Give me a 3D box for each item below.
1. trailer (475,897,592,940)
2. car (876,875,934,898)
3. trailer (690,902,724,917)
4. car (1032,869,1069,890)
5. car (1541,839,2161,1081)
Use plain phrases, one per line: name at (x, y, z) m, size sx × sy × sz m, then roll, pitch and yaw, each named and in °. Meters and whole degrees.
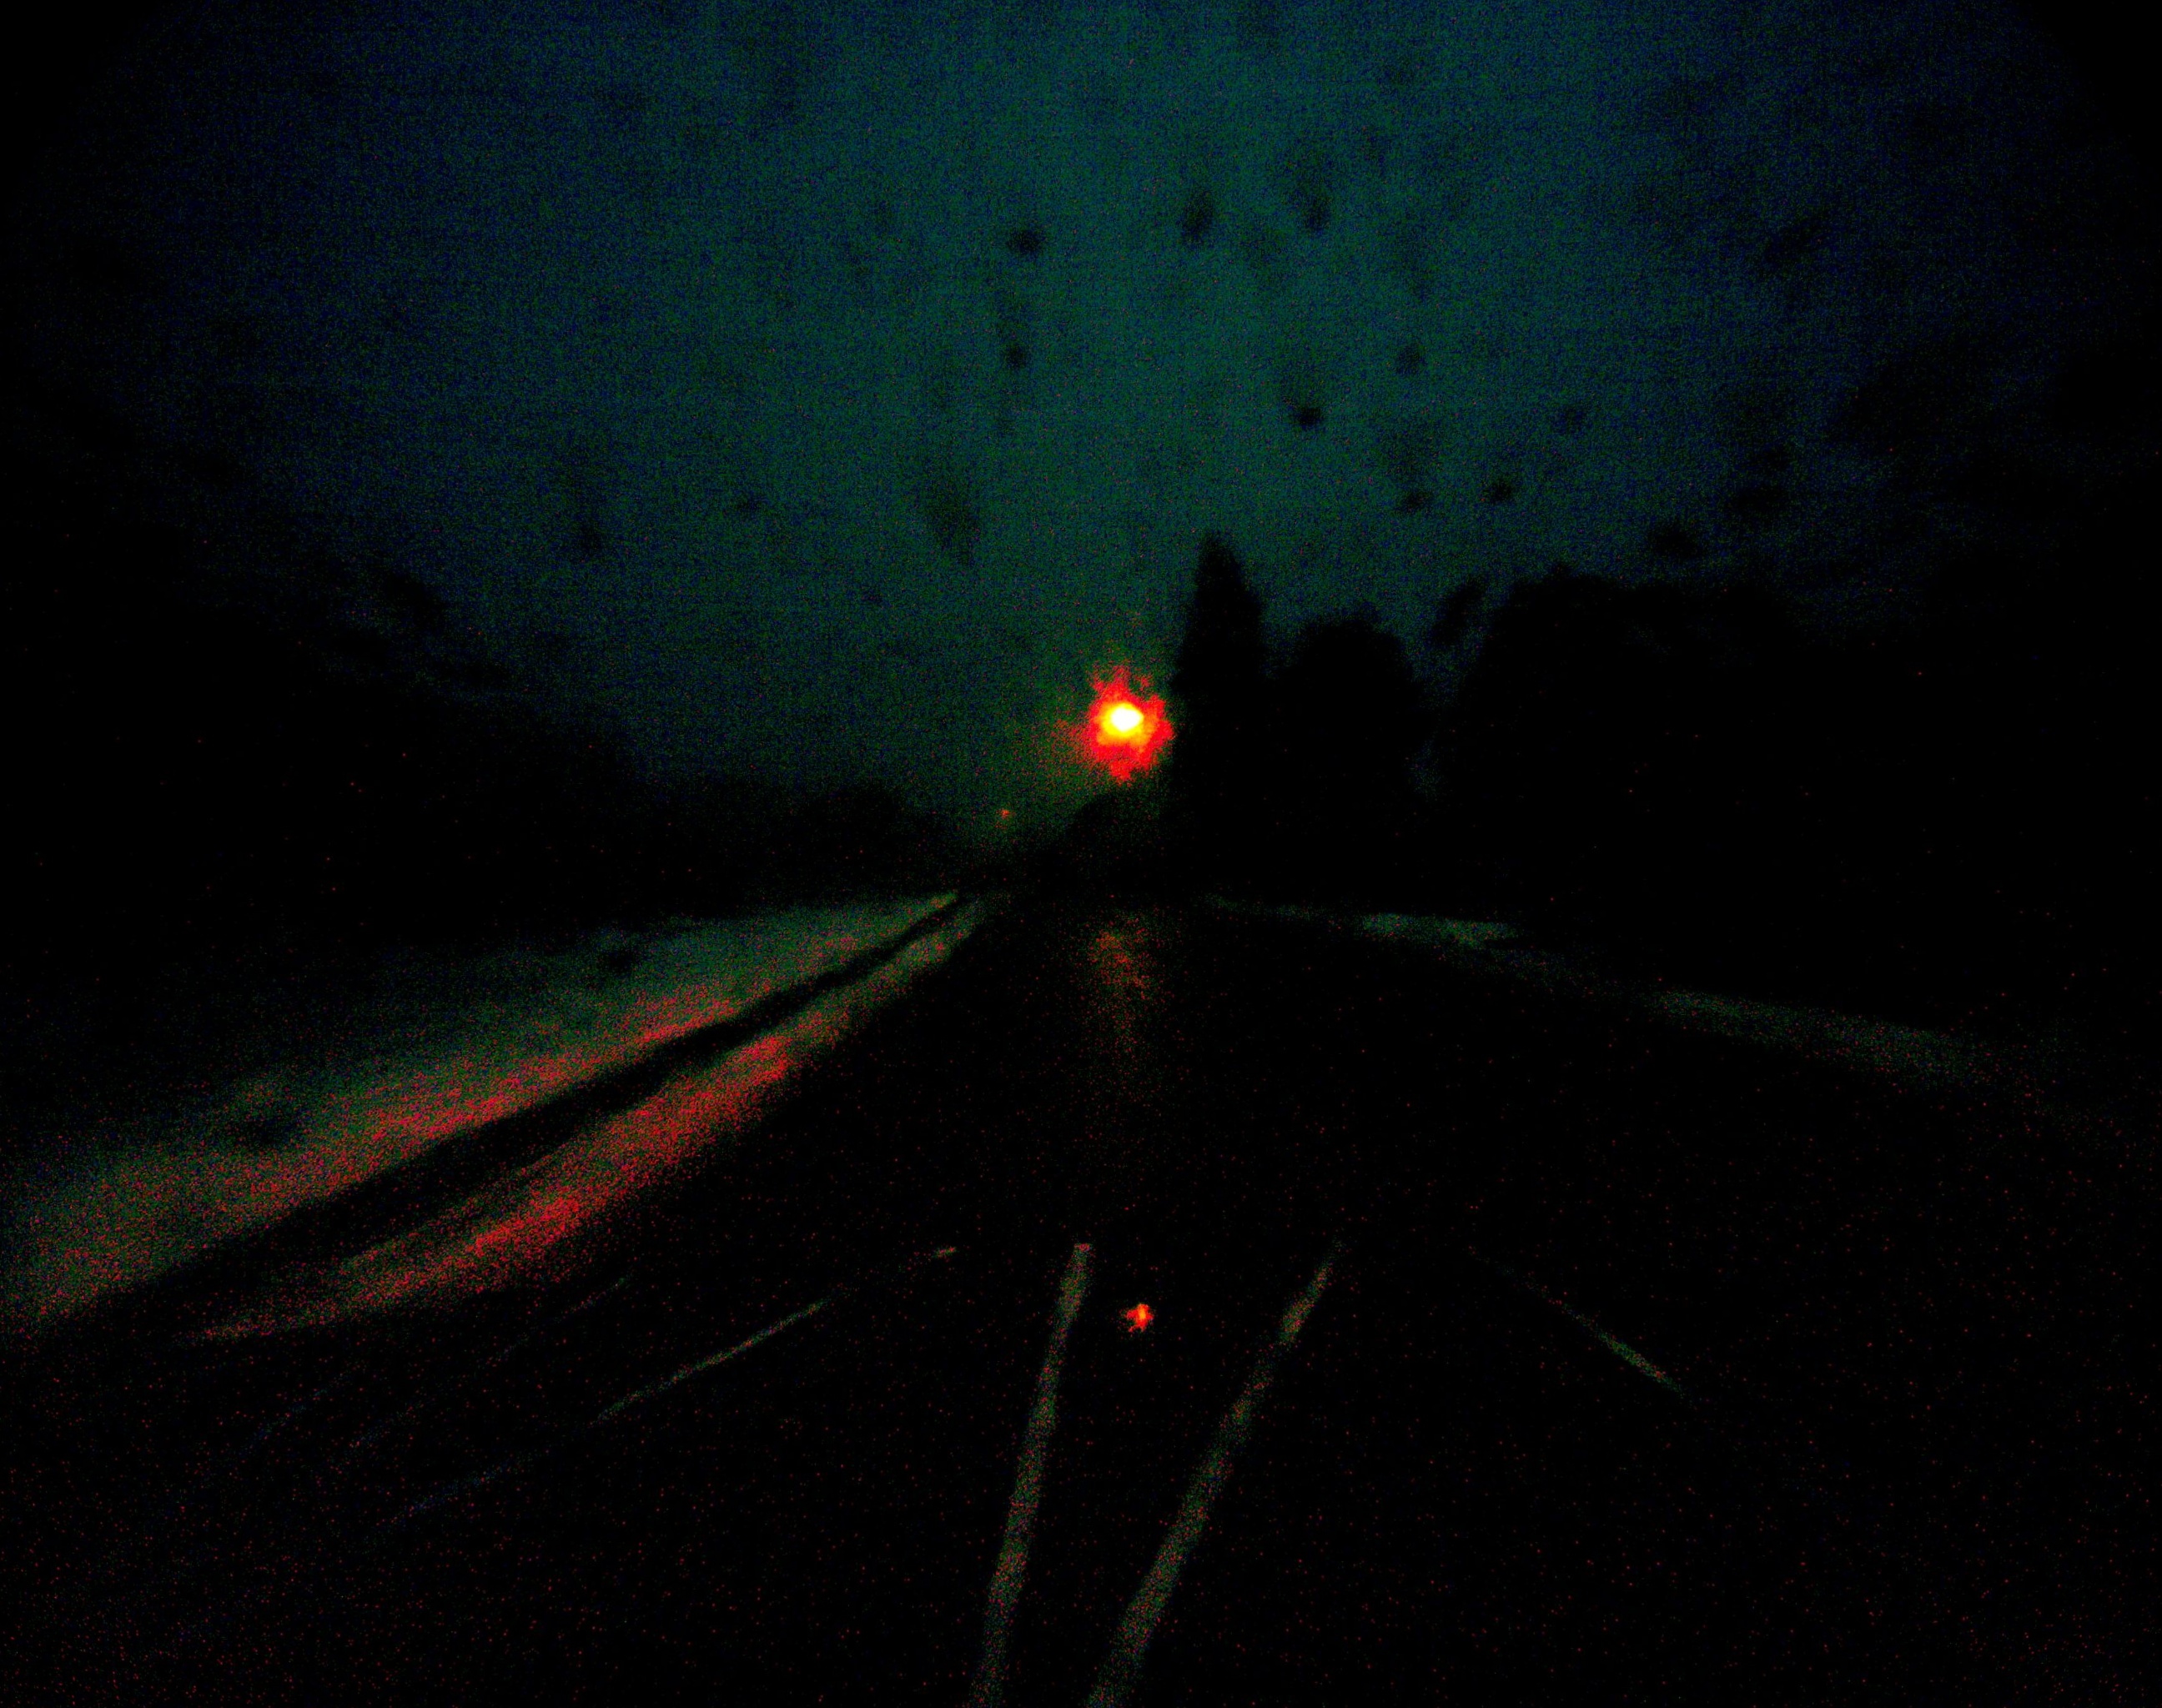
trailer at (-30.587, 3.573, 42.658) m, size 4.759 × 1.930 × 2.222 m, roll -4°, pitch -2°, yaw -17°
car at (-14.477, 2.691, 62.683) m, size 4.465 × 1.373 × 2.034 m, roll -7°, pitch -1°, yaw -12°
trailer at (-26.636, 3.952, 54.210) m, size 1.851 × 0.940 × 3.657 m, roll 0°, pitch -3°, yaw -21°
car at (-2.416, 2.022, 59.137) m, size 1.883 × 1.417 × 5.388 m, roll -3°, pitch -2°, yaw -12°
car at (7.275, 0.691, 7.053) m, size 2.002 × 1.557 × 4.989 m, roll 1°, pitch 0°, yaw -19°
